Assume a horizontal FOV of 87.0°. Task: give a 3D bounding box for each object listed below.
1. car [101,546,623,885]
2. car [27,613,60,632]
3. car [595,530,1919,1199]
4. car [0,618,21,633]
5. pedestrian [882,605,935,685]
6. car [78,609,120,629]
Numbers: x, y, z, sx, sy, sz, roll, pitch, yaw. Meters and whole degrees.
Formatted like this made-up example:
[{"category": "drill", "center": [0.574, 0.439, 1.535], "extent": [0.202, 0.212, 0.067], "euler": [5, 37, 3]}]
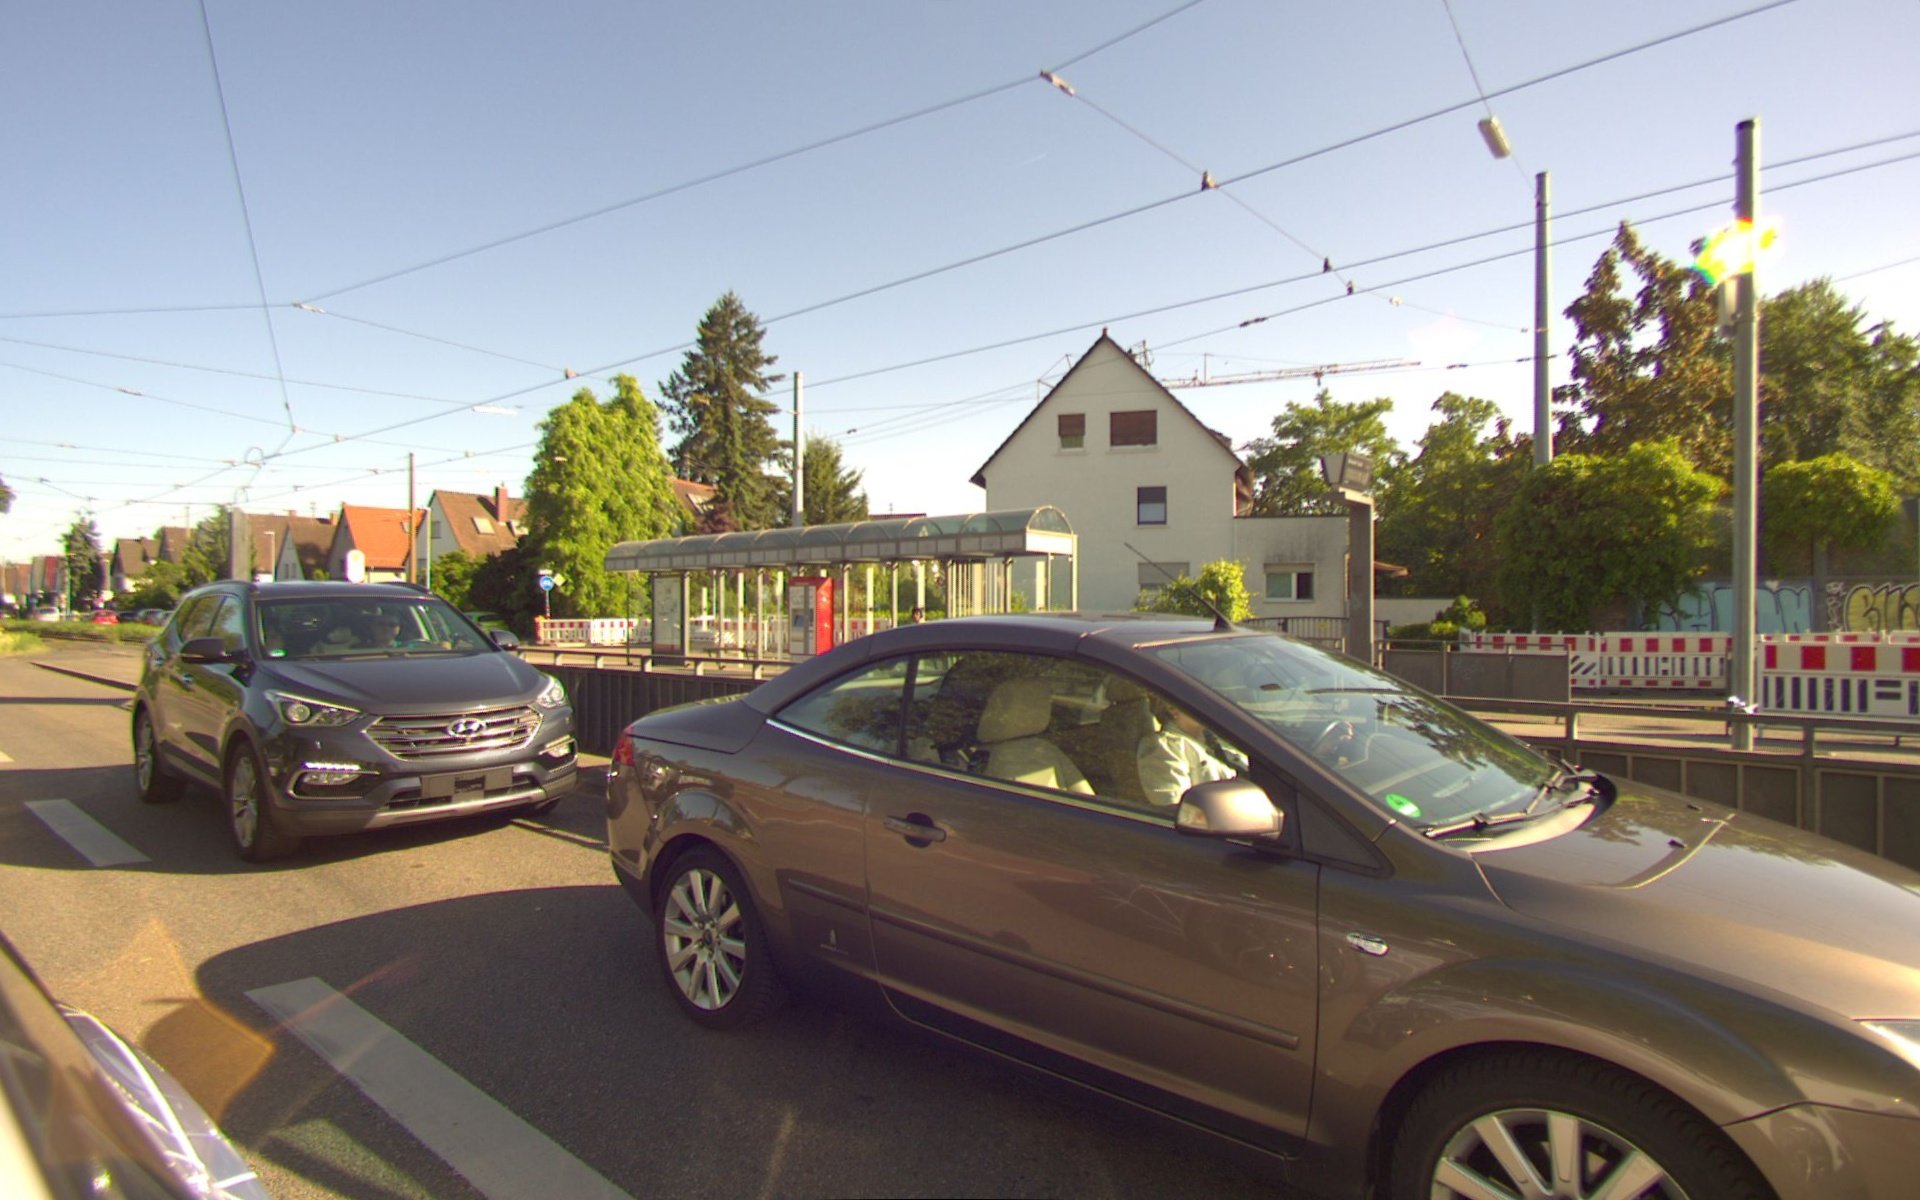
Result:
[{"category": "car", "center": [-4.422, 0.621, 7.208], "extent": [4.296, 1.709, 1.862], "euler": [-1, -2, 40]}, {"category": "car", "center": [-89.391, 2.206, 98.703], "extent": [3.999, 1.785, 1.972], "euler": [-1, -1, 42]}, {"category": "car", "center": [0.847, 0.700, 3.059], "extent": [4.189, 1.546, 1.733], "euler": [-1, -1, 38]}, {"category": "car", "center": [-107.098, 2.895, 113.676], "extent": [3.998, 1.674, 1.973], "euler": [-1, -2, 41]}, {"category": "pedestrian", "center": [-0.938, 0.809, 18.455], "extent": [0.710, 1.425, 0.615], "euler": [-1, -3, 39]}, {"category": "car", "center": [-67.435, 1.481, 79.263], "extent": [3.999, 1.475, 1.972], "euler": [-1, -1, 42]}]
